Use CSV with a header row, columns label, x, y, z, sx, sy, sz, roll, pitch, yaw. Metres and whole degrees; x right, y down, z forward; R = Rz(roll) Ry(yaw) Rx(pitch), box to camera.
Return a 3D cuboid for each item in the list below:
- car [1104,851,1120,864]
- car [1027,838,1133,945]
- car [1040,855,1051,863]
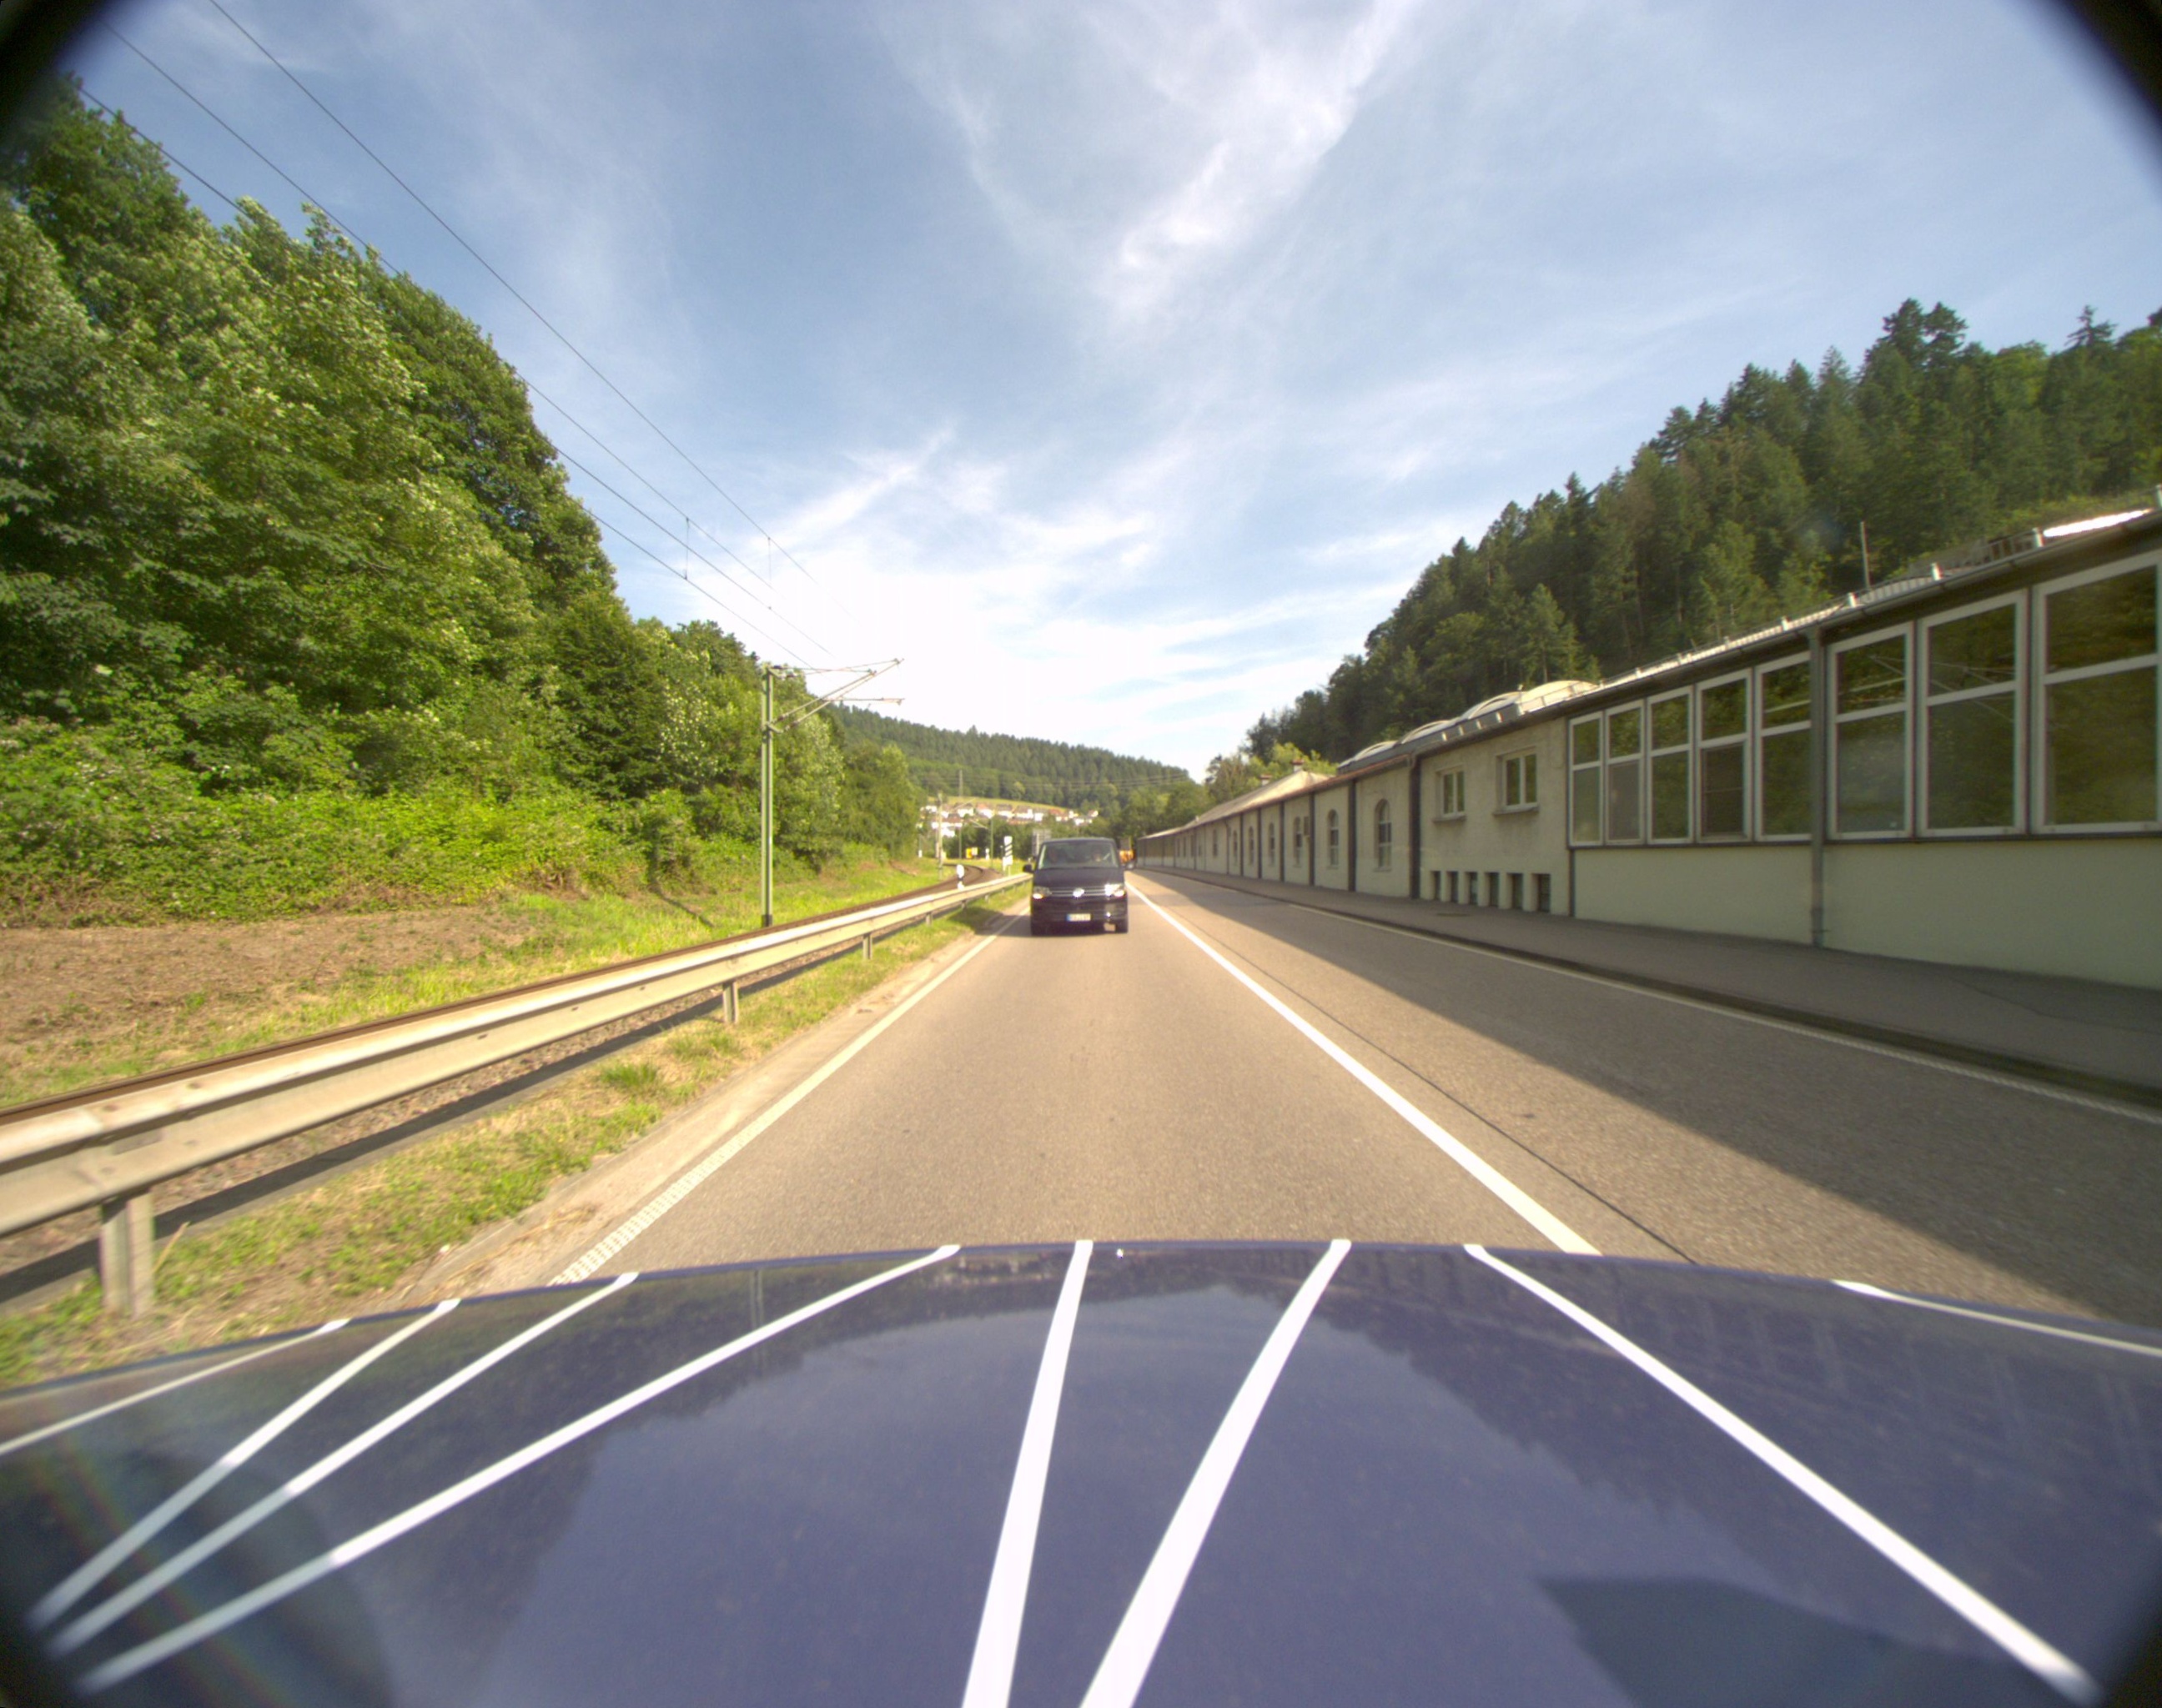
label,x,y,z,sx,sy,sz,roll,pitch,yaw
car,4.170,0.466,101.510,1.934,1.572,4.458,-3,0,1
car,-0.108,0.681,16.597,1.901,1.927,5.187,-2,0,-2
car,-7.290,1.042,155.105,1.936,1.572,4.455,-3,0,-7
